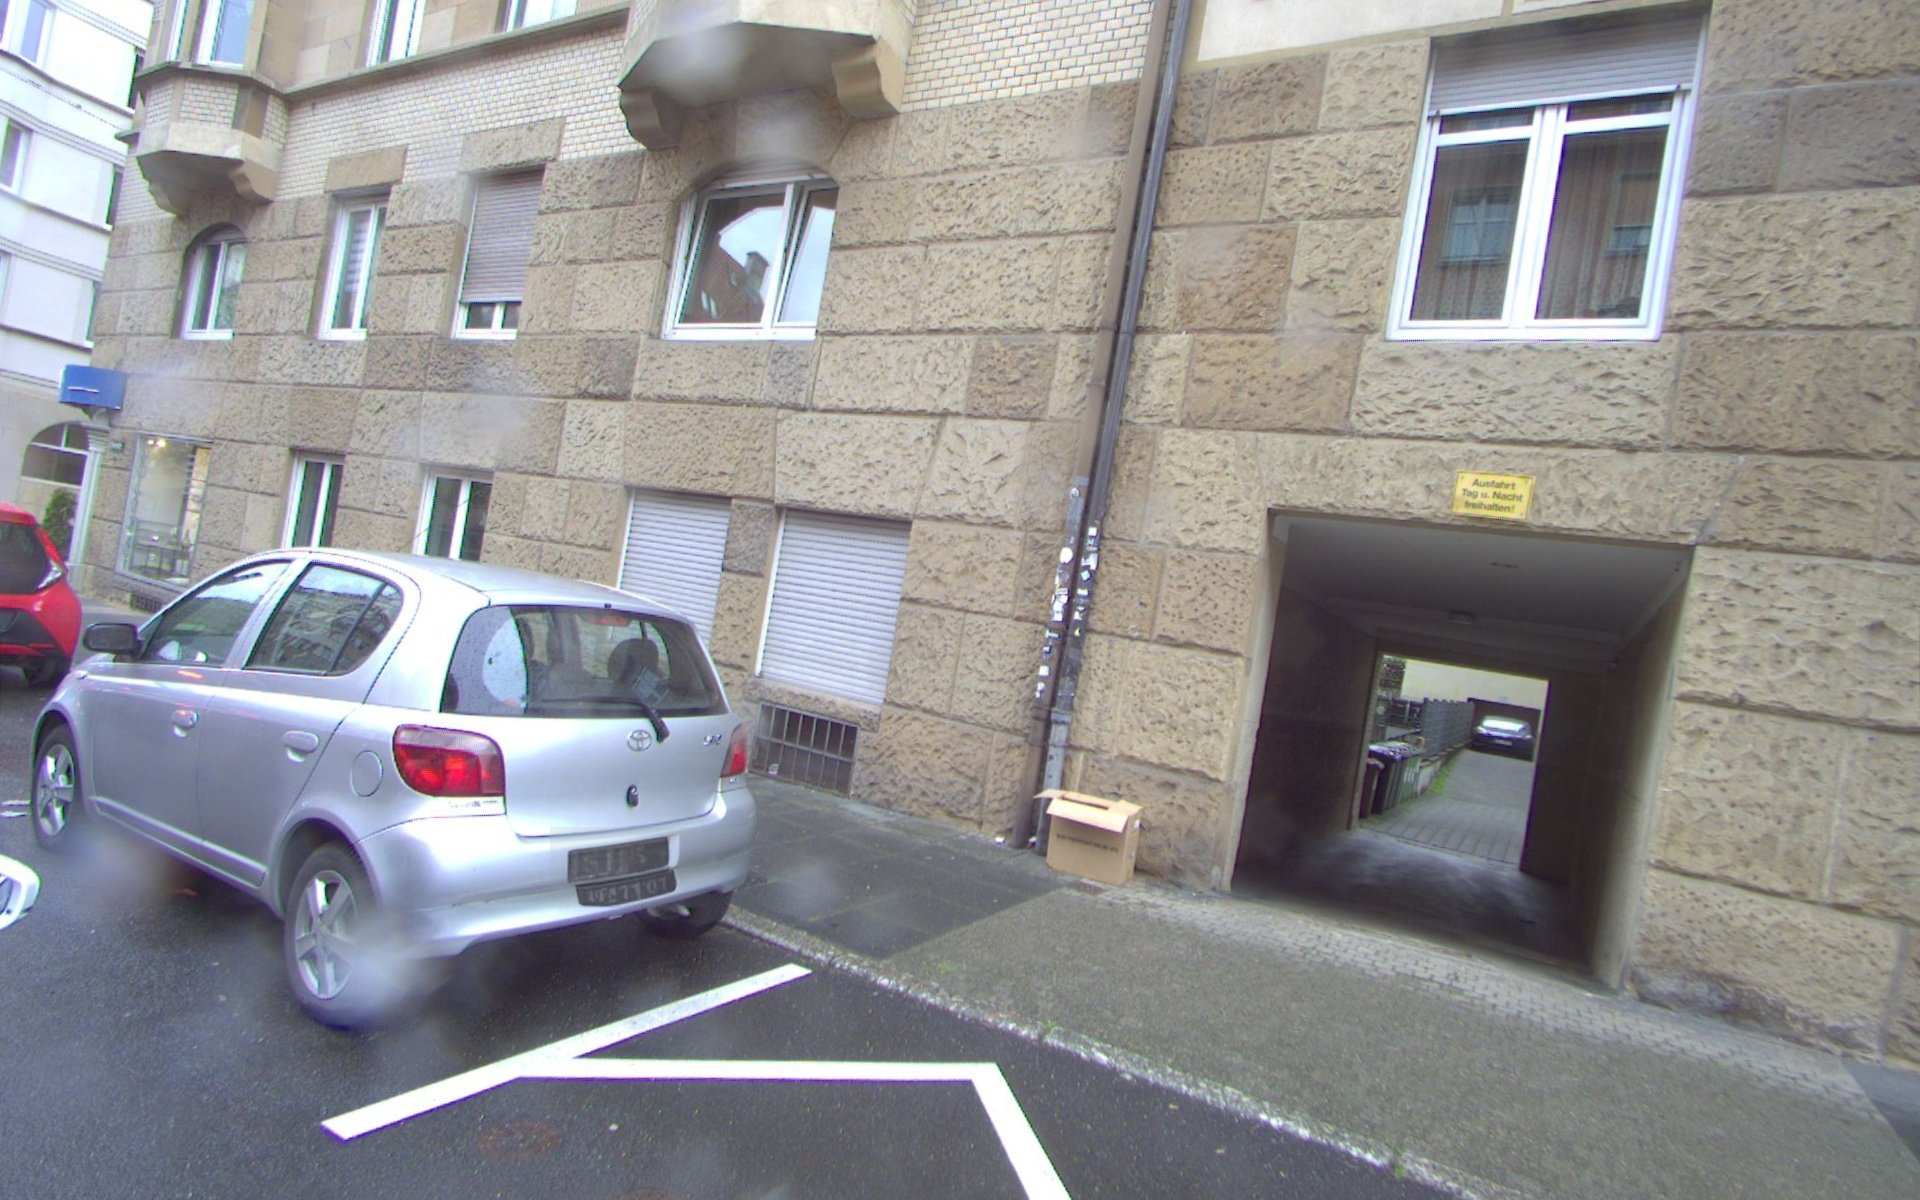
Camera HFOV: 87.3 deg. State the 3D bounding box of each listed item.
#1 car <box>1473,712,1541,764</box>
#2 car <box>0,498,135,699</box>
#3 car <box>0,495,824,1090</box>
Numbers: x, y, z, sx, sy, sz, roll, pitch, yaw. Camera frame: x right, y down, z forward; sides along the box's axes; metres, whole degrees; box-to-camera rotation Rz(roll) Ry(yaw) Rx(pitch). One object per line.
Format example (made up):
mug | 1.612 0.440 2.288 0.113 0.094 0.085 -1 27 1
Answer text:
car | 18.388 4.594 33.874 1.764 1.362 4.015 6 -2 29
car | -8.688 -0.210 8.235 3.472 1.469 1.711 7 -3 29
car | -2.519 0.510 4.383 3.464 1.504 1.597 7 -1 32
